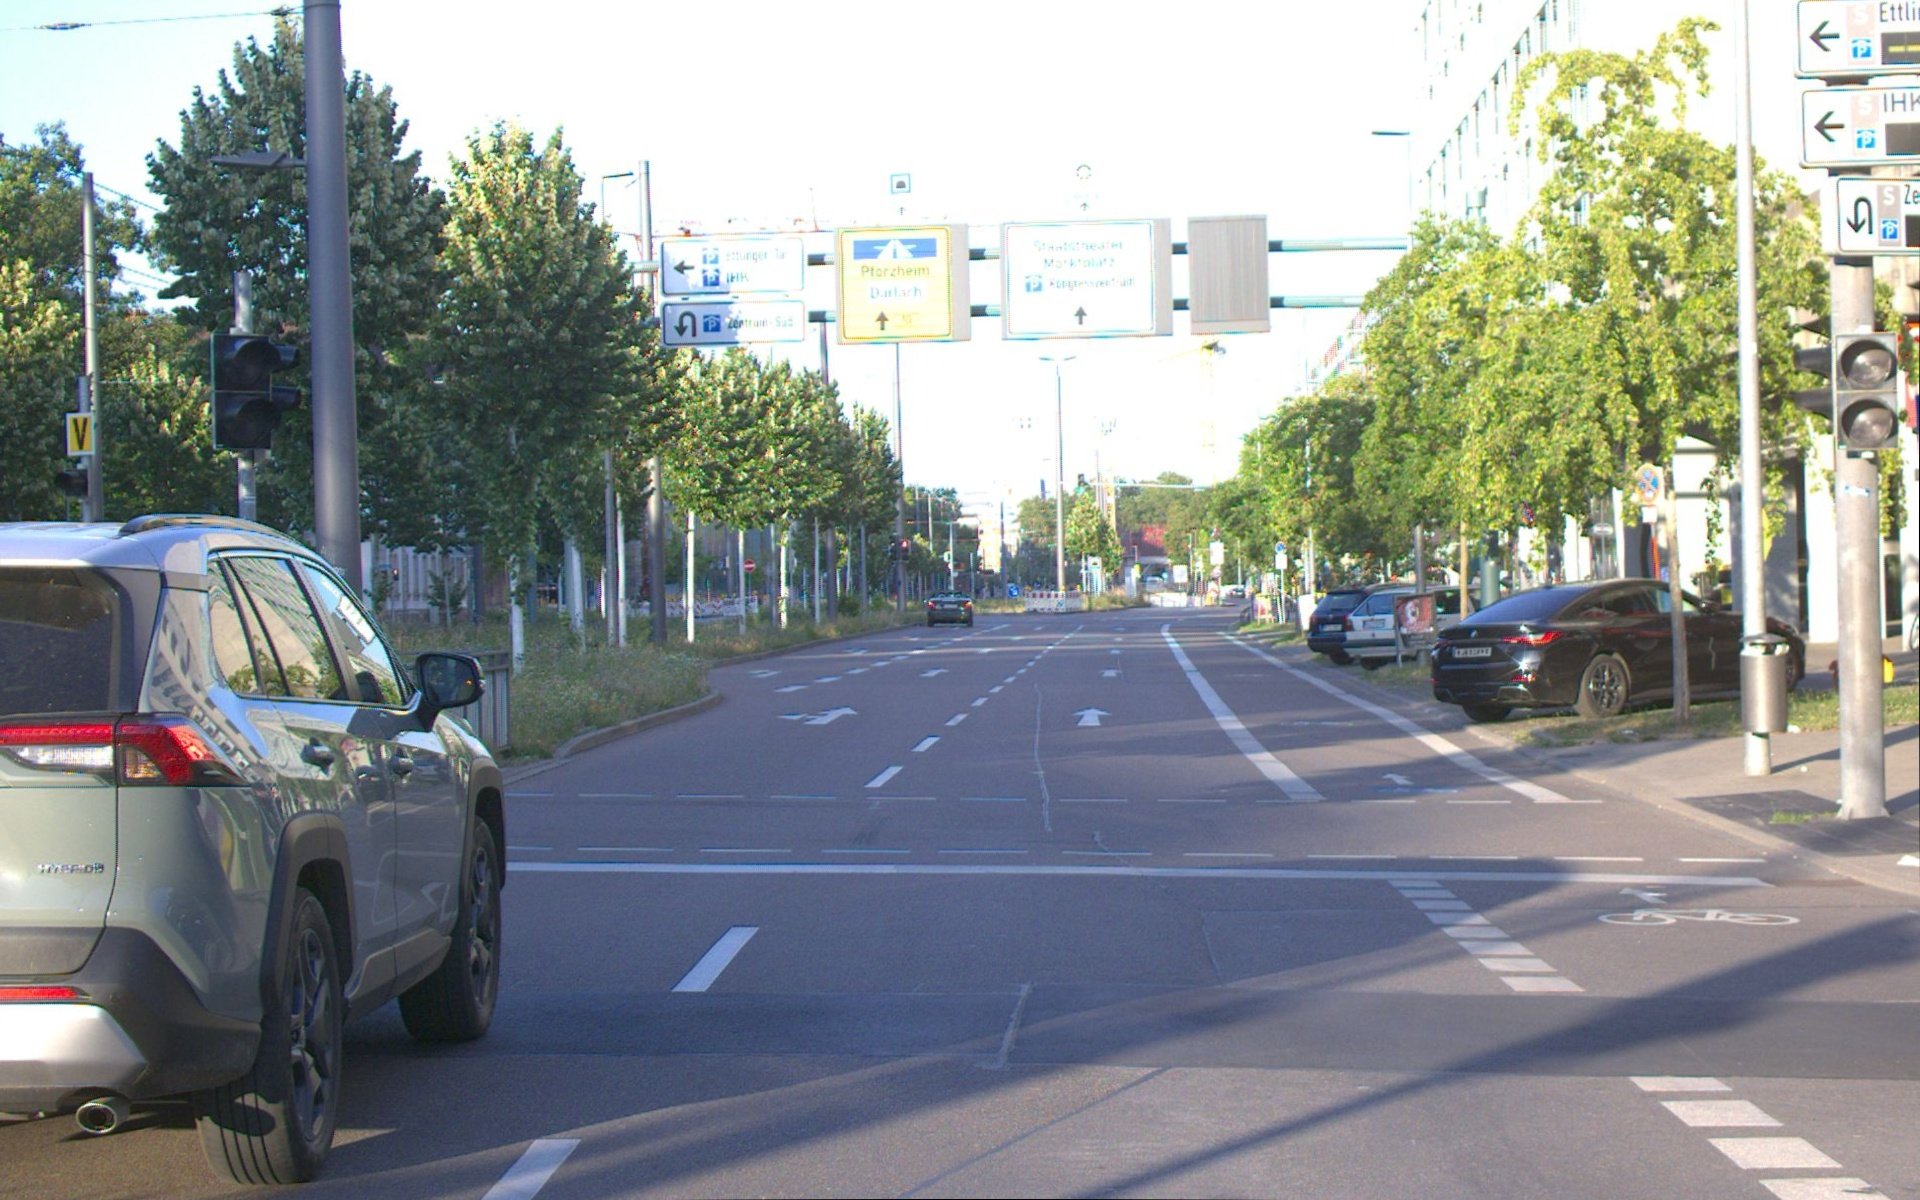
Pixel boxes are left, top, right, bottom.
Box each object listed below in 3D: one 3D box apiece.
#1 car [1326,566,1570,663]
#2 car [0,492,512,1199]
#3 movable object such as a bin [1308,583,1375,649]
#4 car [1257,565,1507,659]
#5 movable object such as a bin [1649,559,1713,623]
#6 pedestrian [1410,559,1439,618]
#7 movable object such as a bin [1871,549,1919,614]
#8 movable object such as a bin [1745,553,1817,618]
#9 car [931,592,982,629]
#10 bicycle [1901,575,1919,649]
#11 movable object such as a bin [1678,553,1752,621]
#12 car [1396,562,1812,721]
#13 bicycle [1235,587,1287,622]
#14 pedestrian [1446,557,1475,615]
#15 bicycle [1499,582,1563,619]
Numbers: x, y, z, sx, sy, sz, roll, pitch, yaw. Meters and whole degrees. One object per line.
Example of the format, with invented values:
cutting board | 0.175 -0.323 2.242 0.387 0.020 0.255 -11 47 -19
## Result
car | 8.438 0.241 59.353 3.979 1.412 1.751 -4 0 -35
car | -2.483 0.582 9.596 1.834 1.667 4.282 0 1 1
movable object such as a bin | 7.866 0.322 70.950 1.084 1.297 1.361 -3 0 -4
car | 8.177 0.218 66.378 4.655 1.503 1.939 -4 0 -37
movable object such as a bin | 15.872 -0.202 75.722 1.105 1.325 1.283 -3 0 2
pedestrian | 14.808 -0.364 109.541 0.744 1.843 0.940 -4 -1 12
movable object such as a bin | 19.627 -0.386 71.287 1.181 1.309 1.088 -2 0 1
movable object such as a bin | 17.014 -0.305 71.282 1.181 1.294 1.304 -2 0 1
car | -0.107 0.378 127.313 1.674 1.347 4.000 0 1 3
bicycle | 14.473 0.137 49.670 1.572 1.045 0.433 -3 0 2
movable object such as a bin | 15.637 -0.268 71.241 1.181 1.318 1.267 -4 0 1
car | 7.045 0.428 37.376 4.593 1.448 1.813 -3 1 -38
bicycle | 11.119 0.177 126.971 1.793 1.189 0.568 -3 0 -2
pedestrian | 15.956 -0.452 109.572 0.756 1.818 0.940 -3 0 12
bicycle | 16.566 0.019 99.787 1.699 0.983 0.551 -3 0 0
